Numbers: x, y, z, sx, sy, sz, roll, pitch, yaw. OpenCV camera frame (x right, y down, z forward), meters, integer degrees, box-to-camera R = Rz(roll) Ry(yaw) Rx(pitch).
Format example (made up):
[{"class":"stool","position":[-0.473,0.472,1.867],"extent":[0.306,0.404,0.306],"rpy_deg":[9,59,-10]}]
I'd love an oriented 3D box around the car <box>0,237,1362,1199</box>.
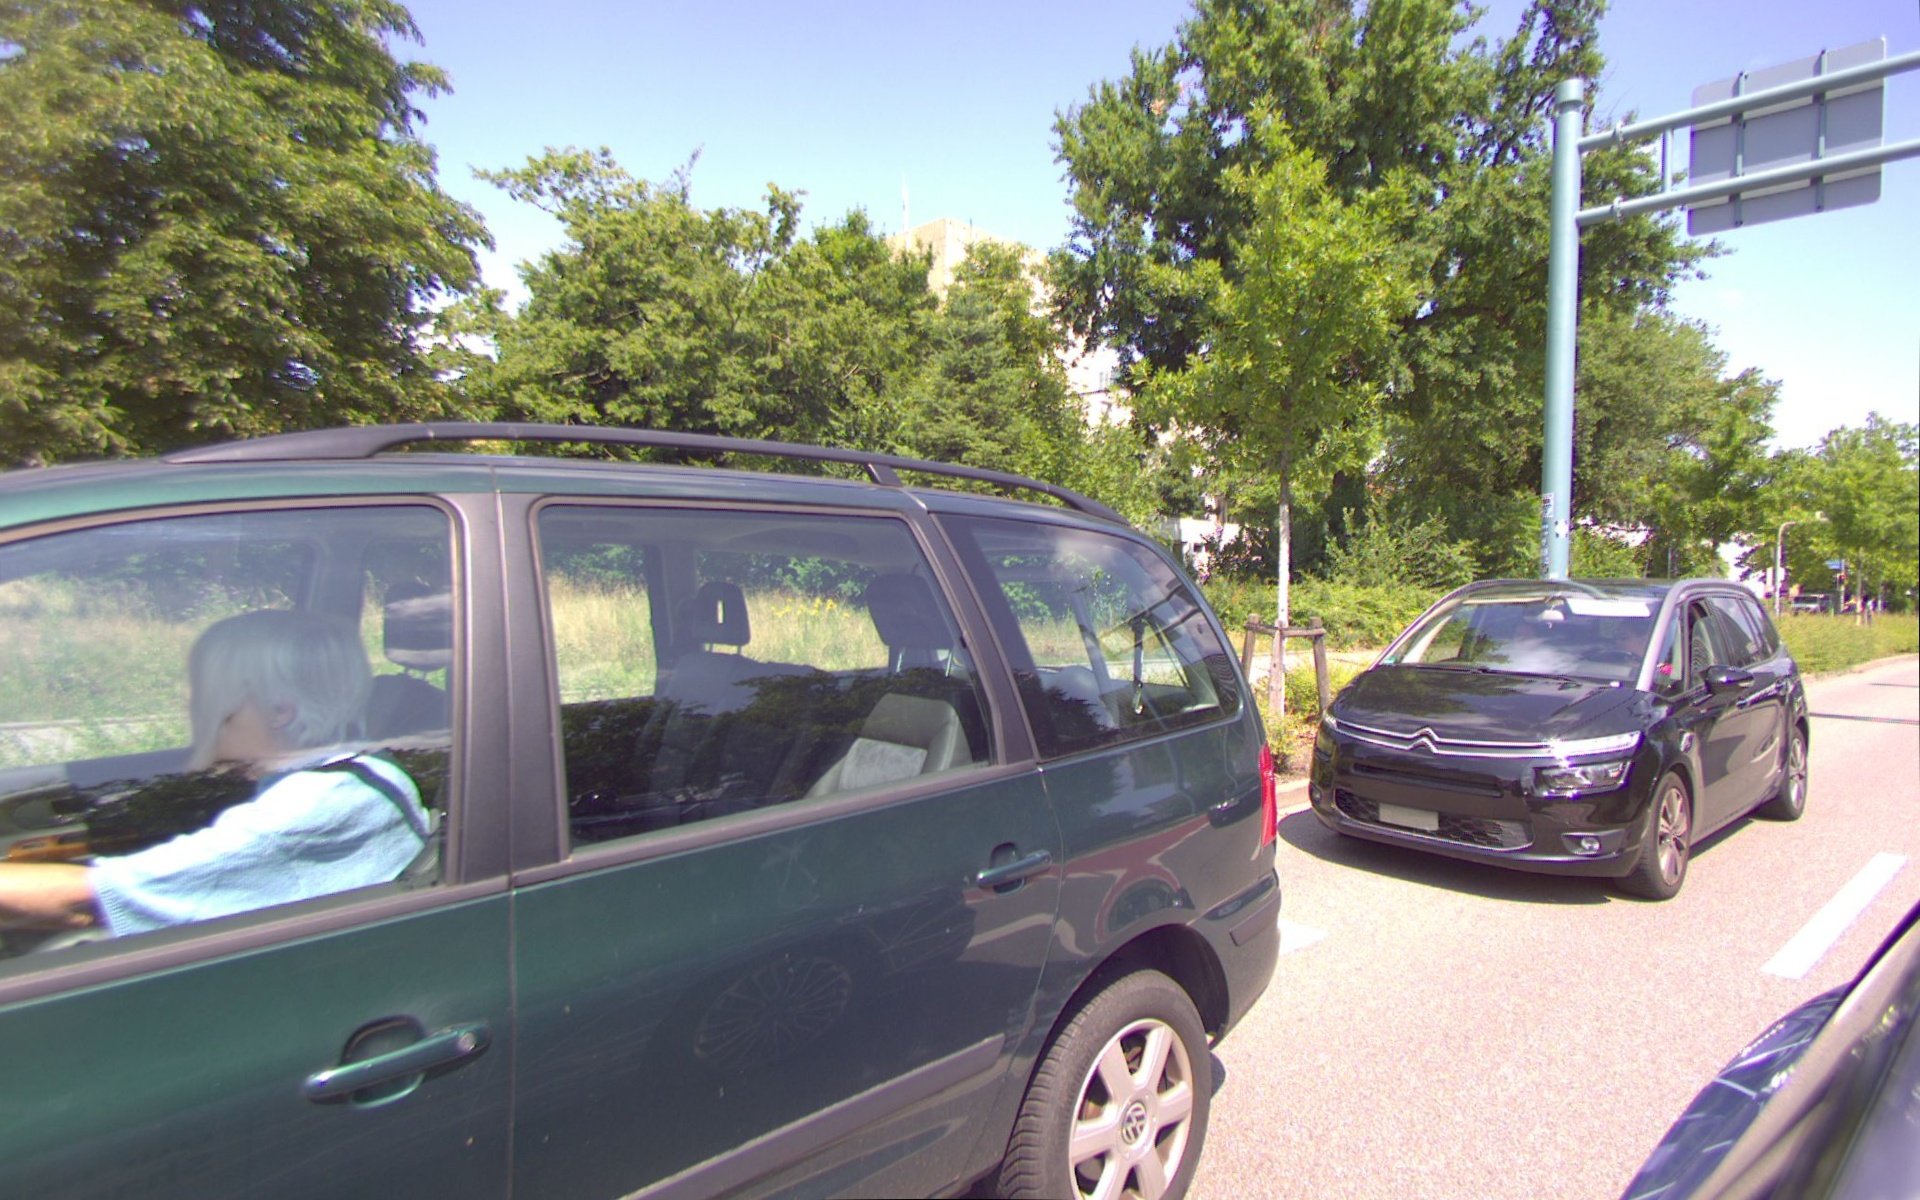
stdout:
[{"class":"car","position":[-1.132,0.528,1.970],"extent":[4.315,1.737,1.804],"rpy_deg":[0,-1,-41]}]

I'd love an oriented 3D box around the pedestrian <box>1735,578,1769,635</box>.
[{"class":"pedestrian","position":[29.182,0.240,37.292],"extent":[0.843,2.063,0.887],"rpy_deg":[2,1,45]}]

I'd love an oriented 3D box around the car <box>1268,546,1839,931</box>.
[{"class":"car","position":[3.976,0.599,6.425],"extent":[4.400,1.628,1.815],"rpy_deg":[1,-1,-41]}]

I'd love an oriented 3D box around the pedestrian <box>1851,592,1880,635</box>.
[{"class":"pedestrian","position":[38.010,0.550,42.483],"extent":[0.633,1.787,0.878],"rpy_deg":[2,1,27]}]
